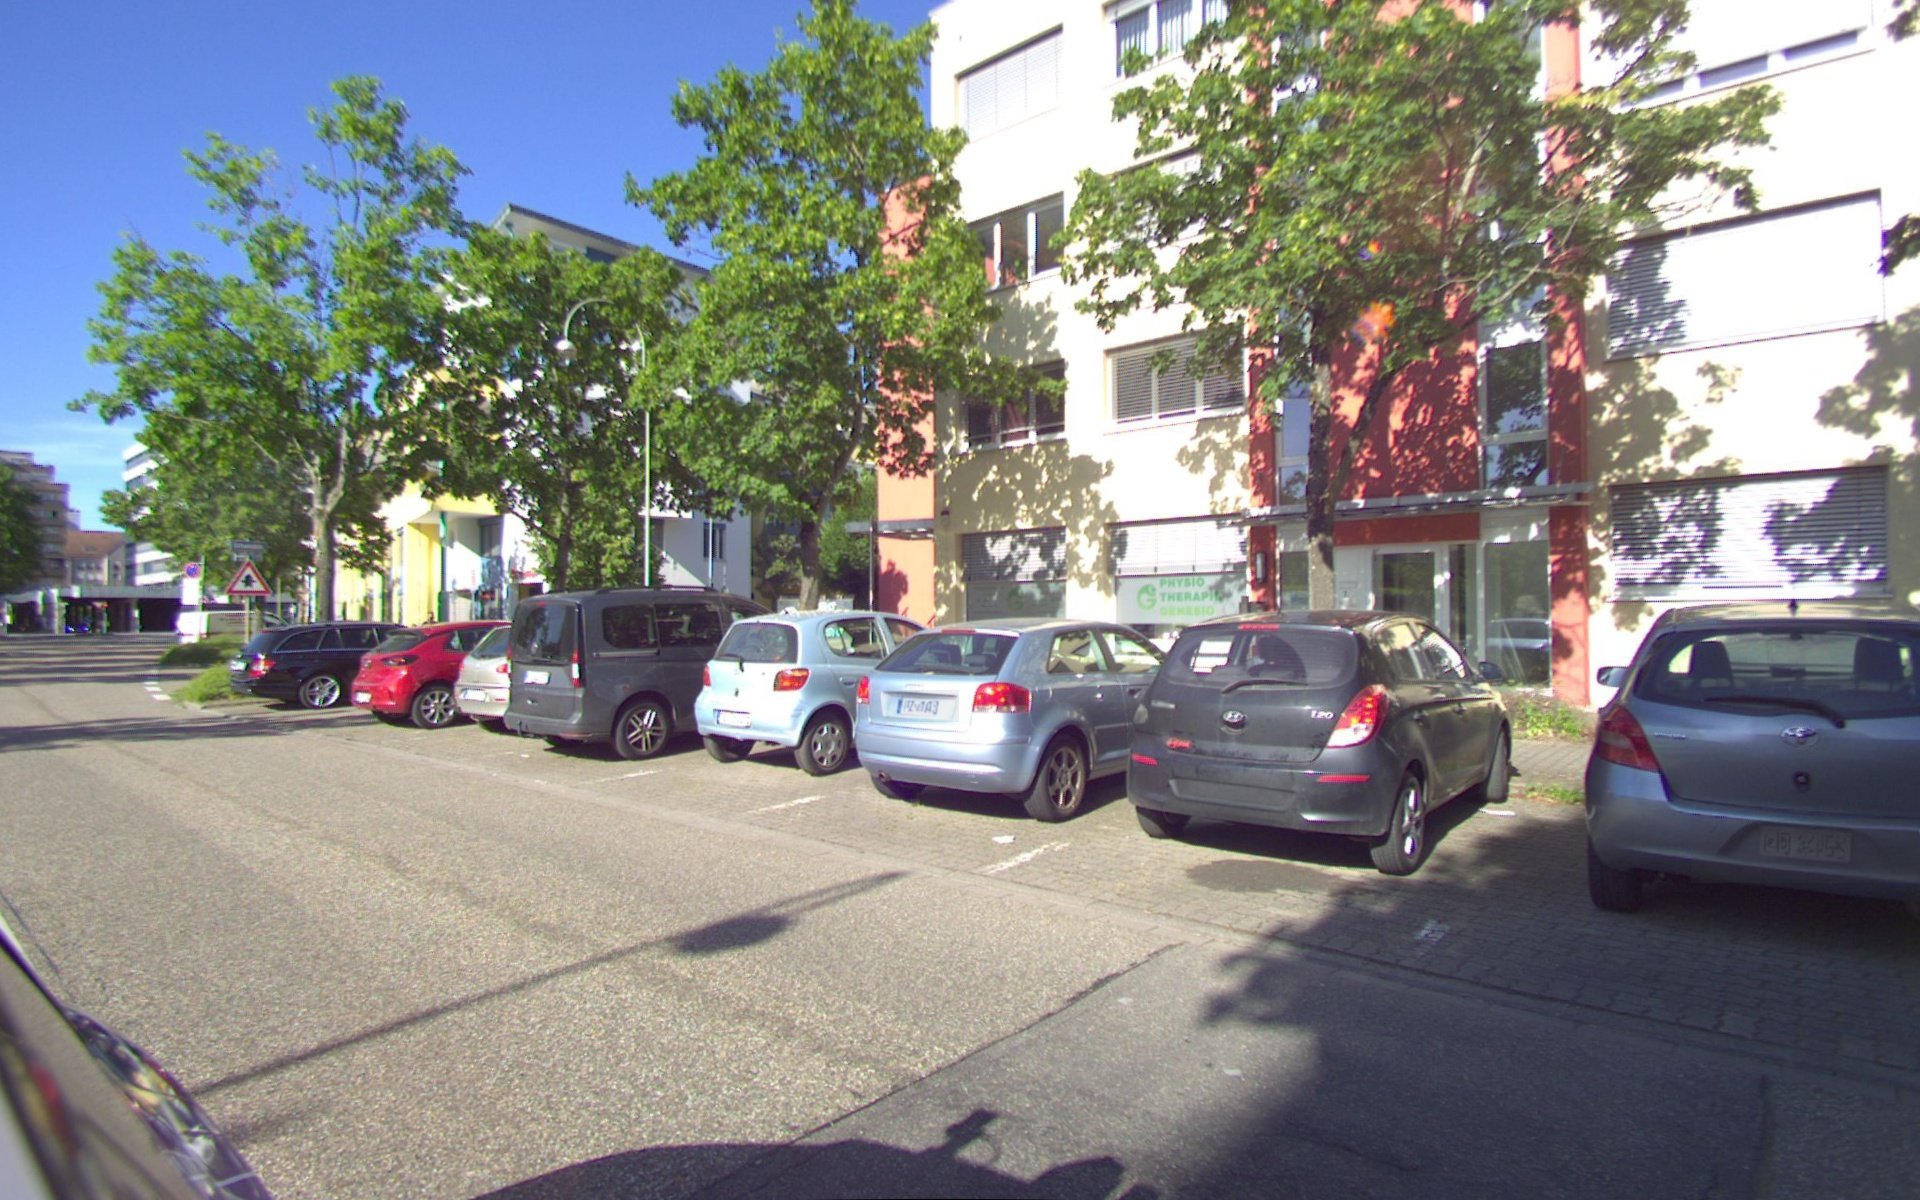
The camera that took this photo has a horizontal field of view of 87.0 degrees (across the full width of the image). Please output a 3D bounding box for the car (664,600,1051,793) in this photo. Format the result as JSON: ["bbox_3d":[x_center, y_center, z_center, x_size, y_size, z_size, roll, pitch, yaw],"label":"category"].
[{"bbox_3d":[-0.925,0.846,10.746,1.858,1.586,3.851,-2,0,41],"label":"car"}]

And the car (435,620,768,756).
[{"bbox_3d":[-4.674,1.050,13.594,1.738,1.434,3.851,-2,0,41],"label":"car"}]

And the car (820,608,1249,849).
[{"bbox_3d":[0.816,0.848,8.485,1.873,1.458,3.692,-2,0,37],"label":"car"}]

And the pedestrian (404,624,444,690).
[{"bbox_3d":[-14.470,1.522,27.312,1.022,1.739,0.649,-1,-3,45],"label":"pedestrian"}]

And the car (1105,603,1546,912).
[{"bbox_3d":[2.738,0.801,7.032,1.857,1.458,3.692,-2,0,37],"label":"car"}]

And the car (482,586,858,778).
[{"bbox_3d":[-3.229,0.791,11.821,1.785,1.825,3.851,-2,0,41],"label":"car"}]

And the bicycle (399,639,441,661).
[{"bbox_3d":[-27.717,2.580,51.945,1.774,1.106,0.703,2,-3,-36],"label":"bicycle"}]

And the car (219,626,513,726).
[{"bbox_3d":[-10.490,1.254,18.091,1.740,1.434,4.215,-2,0,44],"label":"car"}]

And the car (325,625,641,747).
[{"bbox_3d":[-6.932,1.150,14.991,1.738,1.434,3.851,-2,0,41],"label":"car"}]

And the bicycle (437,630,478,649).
[{"bbox_3d":[-24.229,1.892,48.850,0.490,0.878,1.783,-1,0,34],"label":"bicycle"}]

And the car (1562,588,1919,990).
[{"bbox_3d":[4.679,0.721,5.480,1.858,1.520,3.689,-2,0,40],"label":"car"}]

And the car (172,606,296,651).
[{"bbox_3d":[-41.856,1.594,58.506,2.175,2.455,5.456,-2,-1,26],"label":"car"}]

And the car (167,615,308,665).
[{"bbox_3d":[-31.156,1.682,43.822,1.983,2.000,4.743,-2,-1,17],"label":"car"}]
